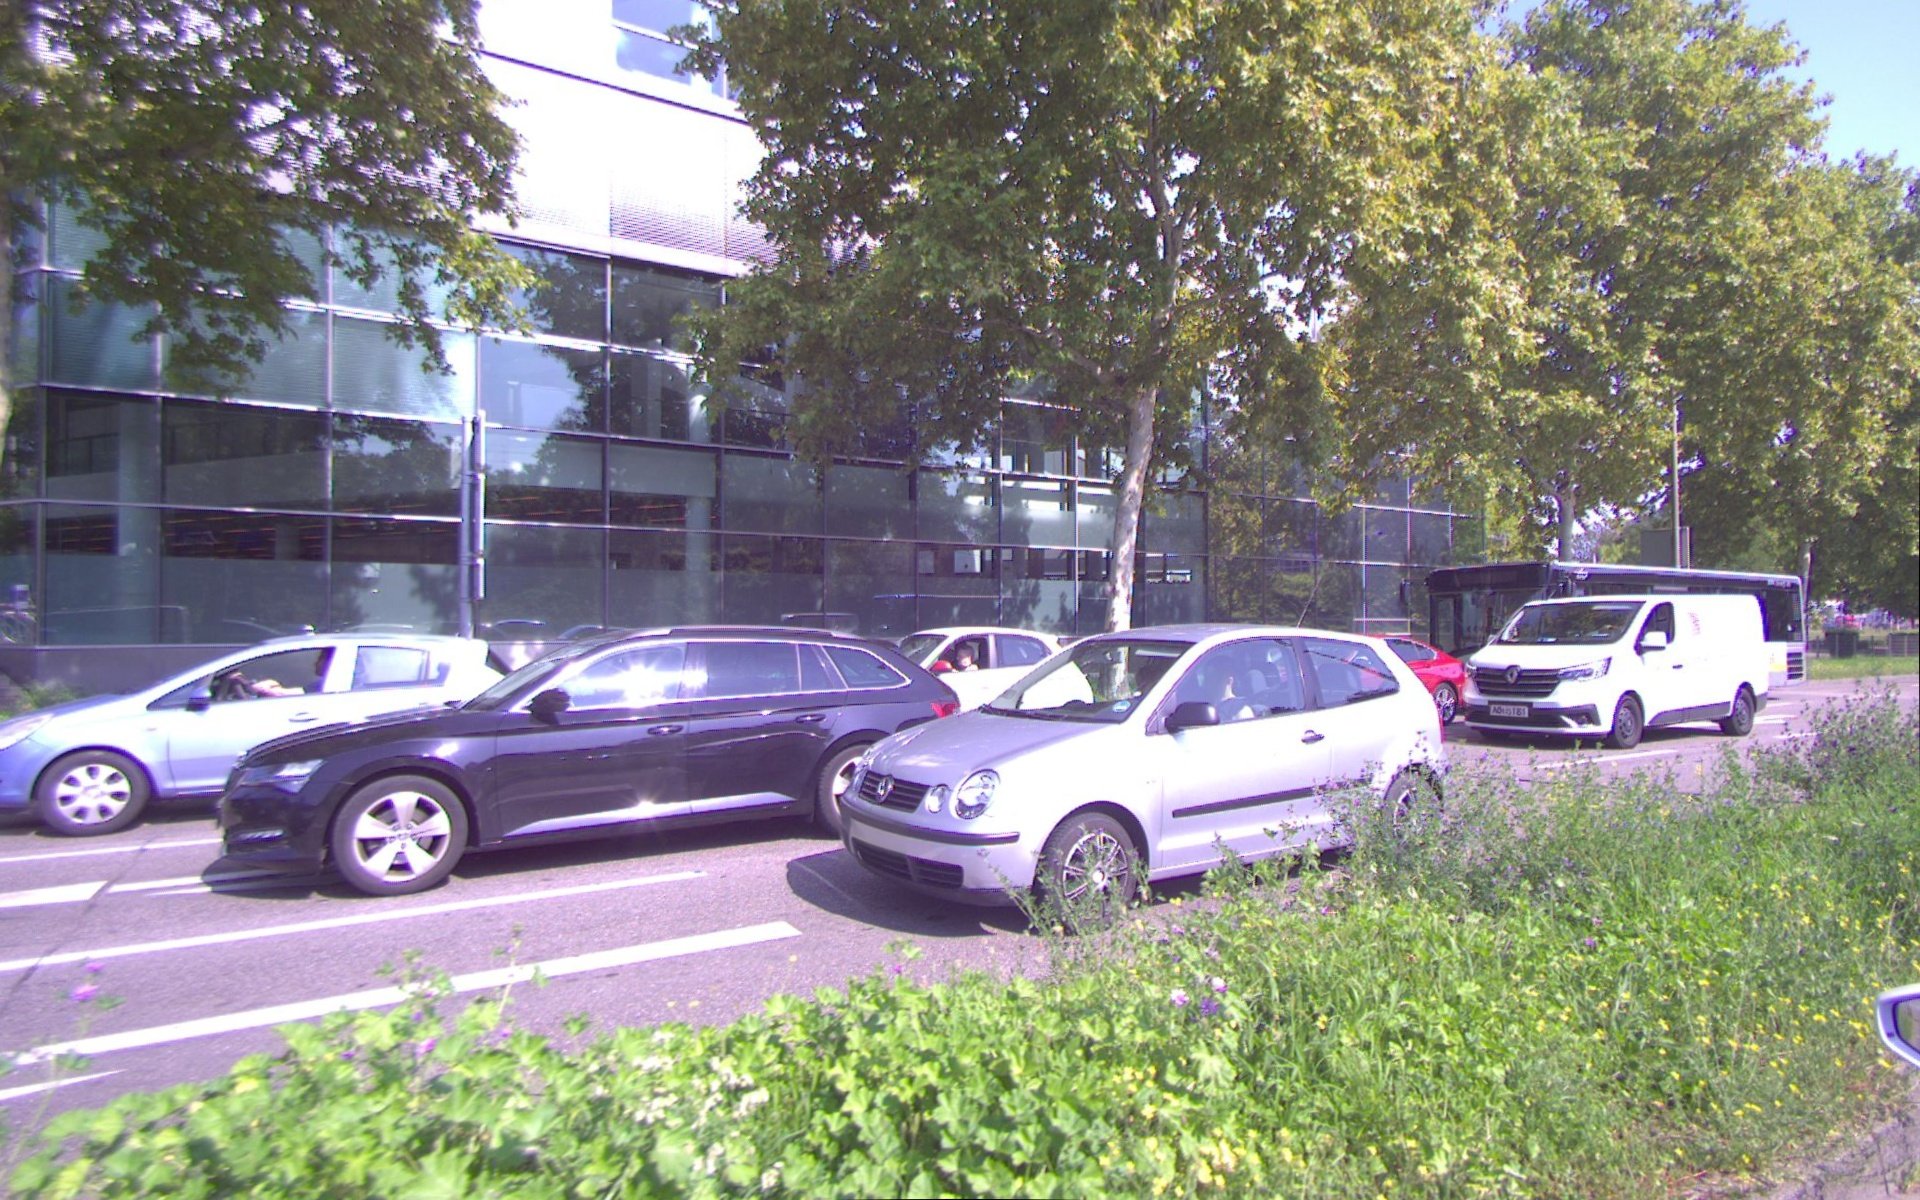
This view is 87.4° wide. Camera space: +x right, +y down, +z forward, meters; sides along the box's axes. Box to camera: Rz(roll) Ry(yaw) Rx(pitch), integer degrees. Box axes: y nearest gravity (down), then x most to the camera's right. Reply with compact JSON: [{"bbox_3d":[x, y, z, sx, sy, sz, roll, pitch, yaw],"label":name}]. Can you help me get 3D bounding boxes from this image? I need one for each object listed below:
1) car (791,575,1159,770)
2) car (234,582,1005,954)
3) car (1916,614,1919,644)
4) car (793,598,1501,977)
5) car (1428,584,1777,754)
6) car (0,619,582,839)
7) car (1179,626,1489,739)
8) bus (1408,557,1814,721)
[{"bbox_3d":[0.223,0.804,11.780,3.933,1.920,1.917,2,-3,-33],"label":"car"},{"bbox_3d":[-2.086,0.938,7.024,4.649,1.873,1.709,1,-3,-31],"label":"car"},{"bbox_3d":[79.521,2.331,79.289,2.253,2.369,5.553,-2,2,-32],"label":"car"},{"bbox_3d":[1.227,0.809,5.906,4.055,1.555,1.606,0,-3,-32],"label":"car"},{"bbox_3d":[8.968,0.879,13.894,5.129,1.986,1.918,1,-3,-30],"label":"car"},{"bbox_3d":[-5.678,0.985,8.747,4.213,1.530,1.770,2,-3,-33],"label":"car"},{"bbox_3d":[5.947,1.227,15.737,5.154,1.530,1.770,2,-4,-32],"label":"car"},{"bbox_3d":[13.746,0.832,20.687,10.784,2.729,2.648,2,-3,-32],"label":"bus"}]
